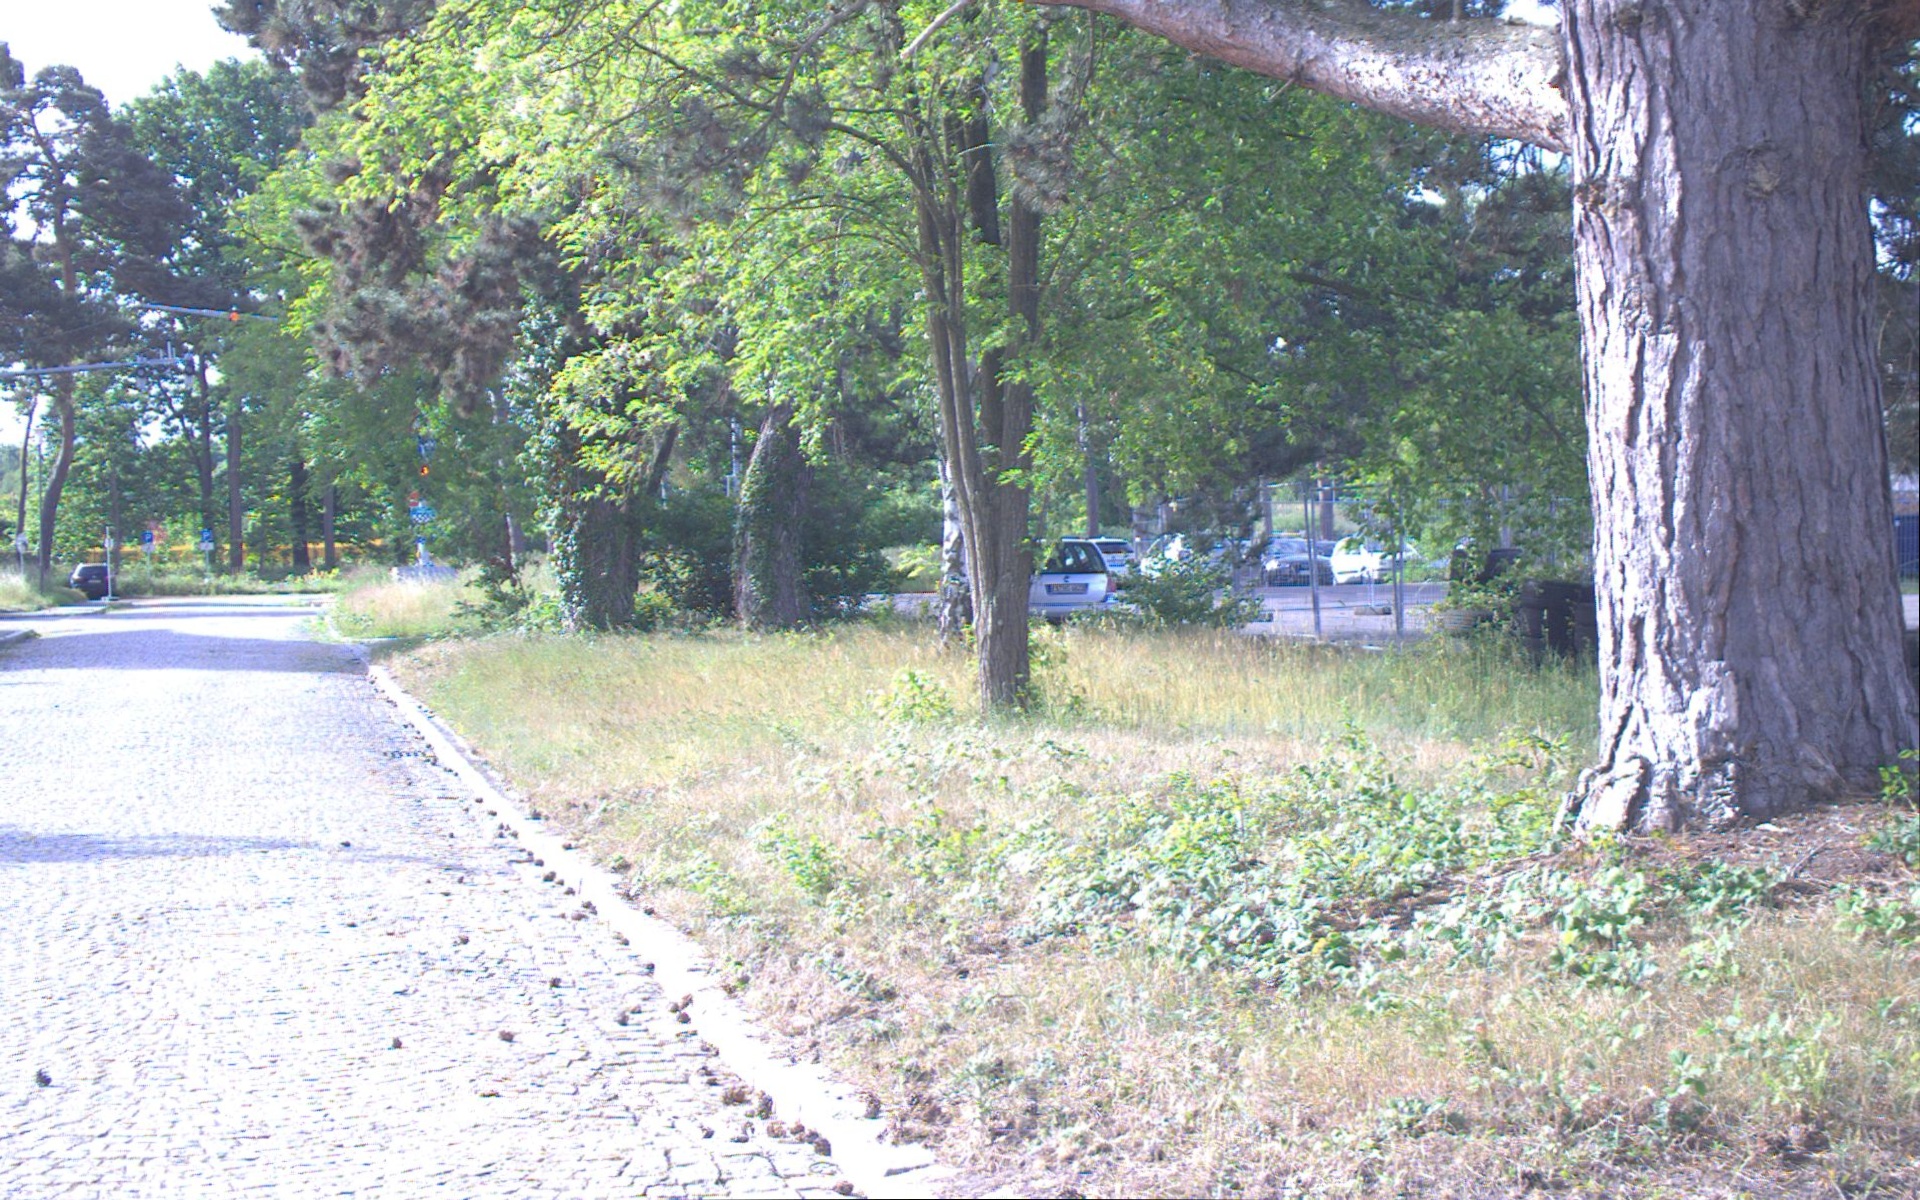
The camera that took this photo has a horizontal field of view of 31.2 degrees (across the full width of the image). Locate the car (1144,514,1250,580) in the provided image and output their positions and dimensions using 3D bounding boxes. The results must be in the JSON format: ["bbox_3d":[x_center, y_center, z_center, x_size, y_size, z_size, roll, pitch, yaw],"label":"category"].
[{"bbox_3d":[6.031,-1.366,87.913,1.820,1.612,4.001,-1,1,-9],"label":"car"}]

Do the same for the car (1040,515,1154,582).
[{"bbox_3d":[3.435,-1.307,87.146,1.993,1.612,4.001,-1,1,-11],"label":"car"}]

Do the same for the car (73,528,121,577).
[{"bbox_3d":[-36.209,-1.999,144.324,1.697,2.007,4.001,-1,1,-11],"label":"car"}]

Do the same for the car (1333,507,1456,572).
[{"bbox_3d":[11.278,-1.568,89.536,1.993,1.612,4.001,-1,1,-11],"label":"car"}]

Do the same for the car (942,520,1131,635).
[{"bbox_3d":[1.036,-0.340,48.549,1.886,1.535,4.001,-1,1,-10],"label":"car"}]

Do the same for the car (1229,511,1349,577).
[{"bbox_3d":[8.460,-1.442,88.678,1.993,1.612,4.001,-1,1,-11],"label":"car"}]
